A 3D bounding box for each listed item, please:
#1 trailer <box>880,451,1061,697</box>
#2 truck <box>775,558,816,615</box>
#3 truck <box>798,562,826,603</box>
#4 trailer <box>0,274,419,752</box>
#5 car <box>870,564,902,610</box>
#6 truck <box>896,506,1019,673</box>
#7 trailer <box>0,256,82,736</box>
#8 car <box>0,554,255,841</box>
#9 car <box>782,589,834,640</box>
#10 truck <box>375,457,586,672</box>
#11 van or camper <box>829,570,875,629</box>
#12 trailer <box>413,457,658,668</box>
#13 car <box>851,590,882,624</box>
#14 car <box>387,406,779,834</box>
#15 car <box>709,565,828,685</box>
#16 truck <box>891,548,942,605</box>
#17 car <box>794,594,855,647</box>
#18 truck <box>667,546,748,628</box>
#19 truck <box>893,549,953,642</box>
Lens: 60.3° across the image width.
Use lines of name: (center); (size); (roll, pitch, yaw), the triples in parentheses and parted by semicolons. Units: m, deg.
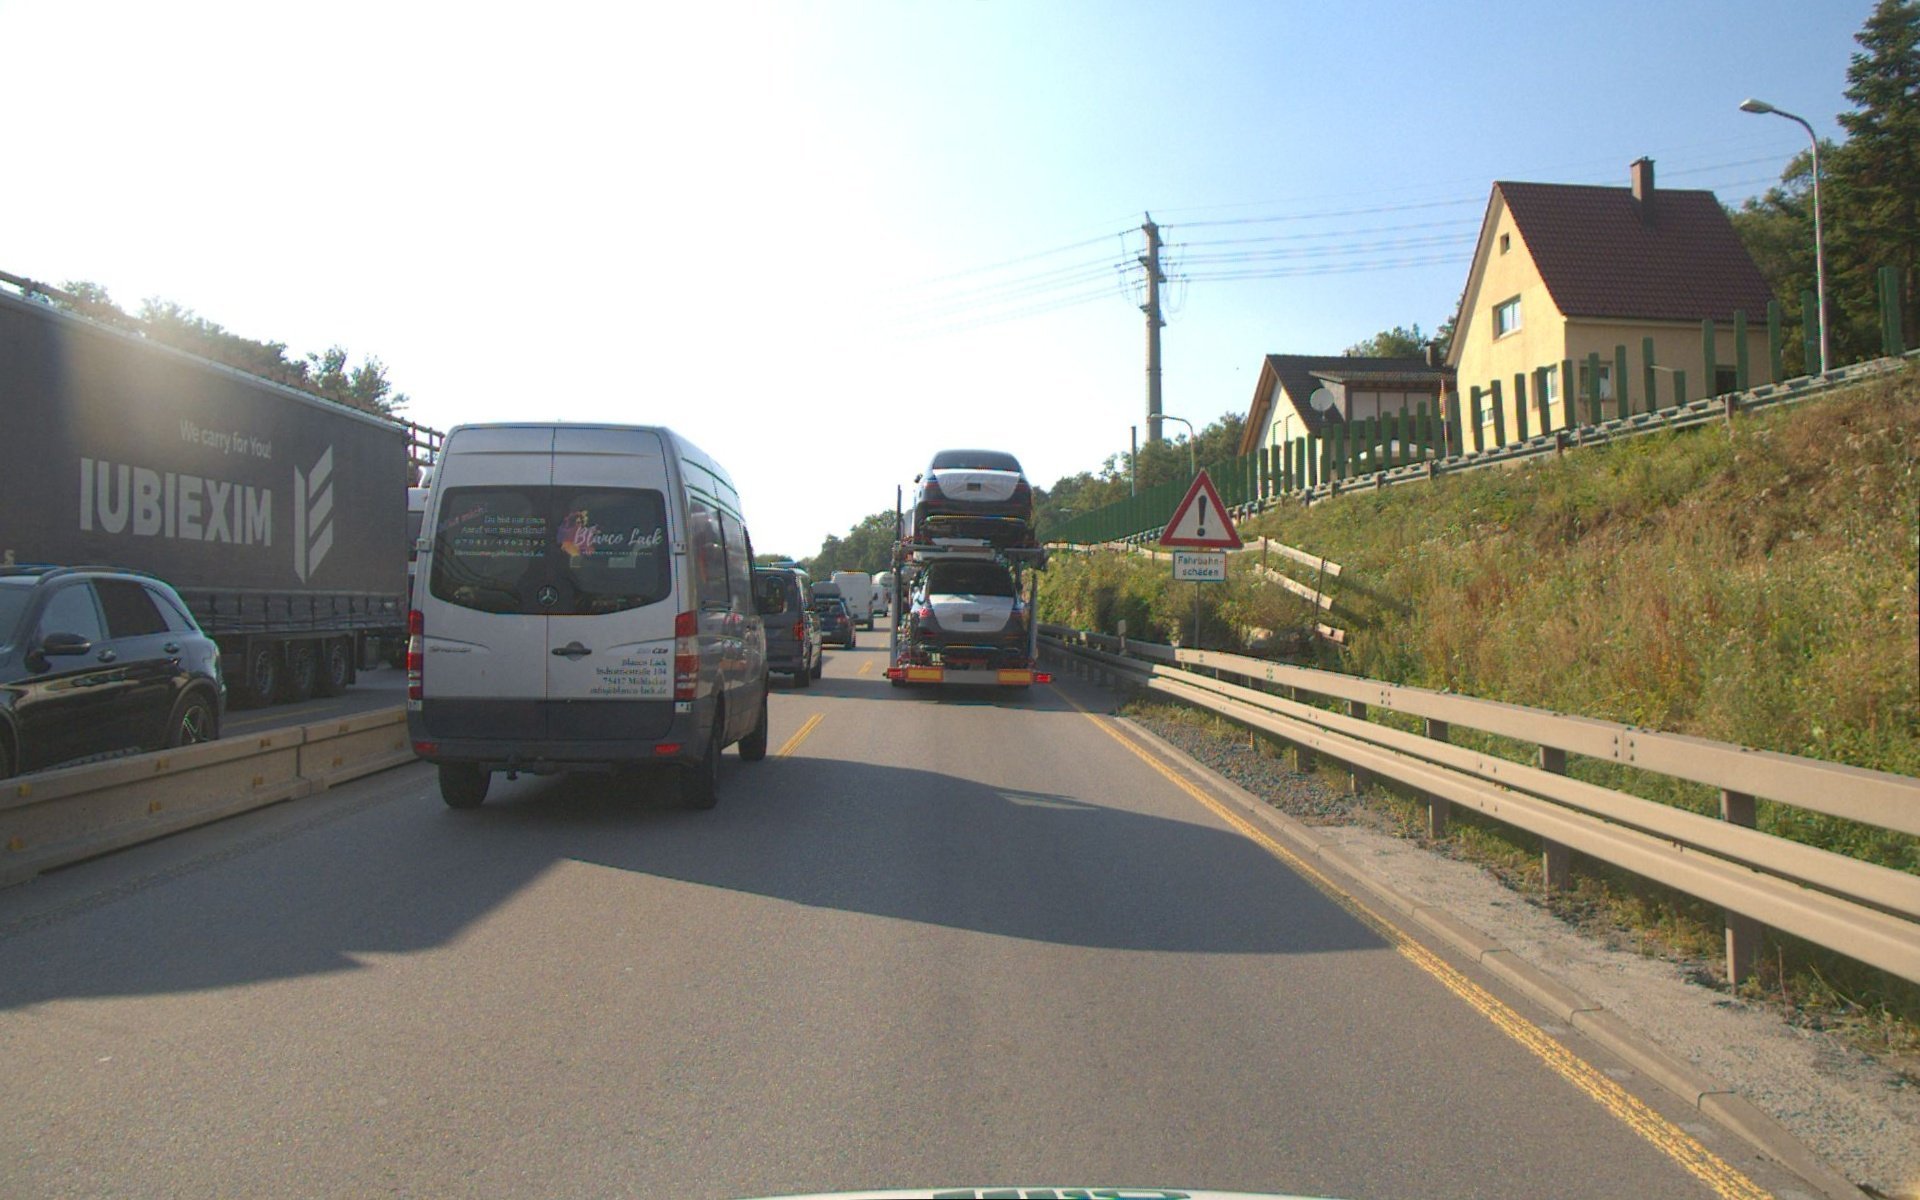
trailer: (0.047, -0.297, 31.988); (2.628, 3.597, 15.284); (1, -1, -1)
truck: (-12.779, -1.068, 129.283); (2.572, 4.184, 9.622); (-3, 0, -3)
truck: (-16.211, -1.819, 181.863); (2.924, 4.226, 15.839); (1, 0, -5)
trailer: (-9.929, -0.825, 19.585); (2.708, 4.213, 14.021); (1, 0, -1)
car: (-8.577, -1.454, 190.527); (3.377, 5.123, 9.644); (1, 0, -4)
truck: (-0.103, -0.193, 39.553); (2.628, 3.597, 7.191); (1, -1, -1)
trailer: (-9.770, -0.916, 12.887); (2.709, 4.213, 5.975); (1, 0, -1)
car: (-6.443, 0.577, 10.953); (1.607, 1.674, 4.687); (1, -1, -2)
car: (-7.866, 0.738, 85.764); (2.422, 2.578, 3.998); (0, -1, -2)
truck: (-9.853, -0.646, 34.625); (2.802, 4.078, 5.656); (1, -1, -2)
van or camper: (-5.016, 0.008, 77.355); (1.928, 2.637, 5.039); (1, -1, -2)
trailer: (-10.033, -0.678, 41.077); (2.854, 4.314, 13.763); (1, -1, -2)
car: (-6.041, 0.455, 106.841); (1.848, 2.136, 3.764); (1, 0, -2)
car: (-2.687, 0.112, 13.247); (1.953, 2.694, 5.529); (0, 0, -1)
car: (-3.298, 0.455, 29.161); (1.772, 1.937, 3.997); (1, -1, -3)
truck: (-3.671, -1.937, 142.509); (3.982, 4.761, 10.592); (0, 0, 0)
car: (-4.147, 0.592, 51.000); (1.691, 1.549, 3.971); (1, 0, -2)
truck: (-11.578, -0.515, 76.565); (2.660, 3.484, 8.137); (-2, -1, -2)
truck: (-2.026, -0.223, 87.682); (2.850, 4.687, 7.280); (0, 0, -4)
